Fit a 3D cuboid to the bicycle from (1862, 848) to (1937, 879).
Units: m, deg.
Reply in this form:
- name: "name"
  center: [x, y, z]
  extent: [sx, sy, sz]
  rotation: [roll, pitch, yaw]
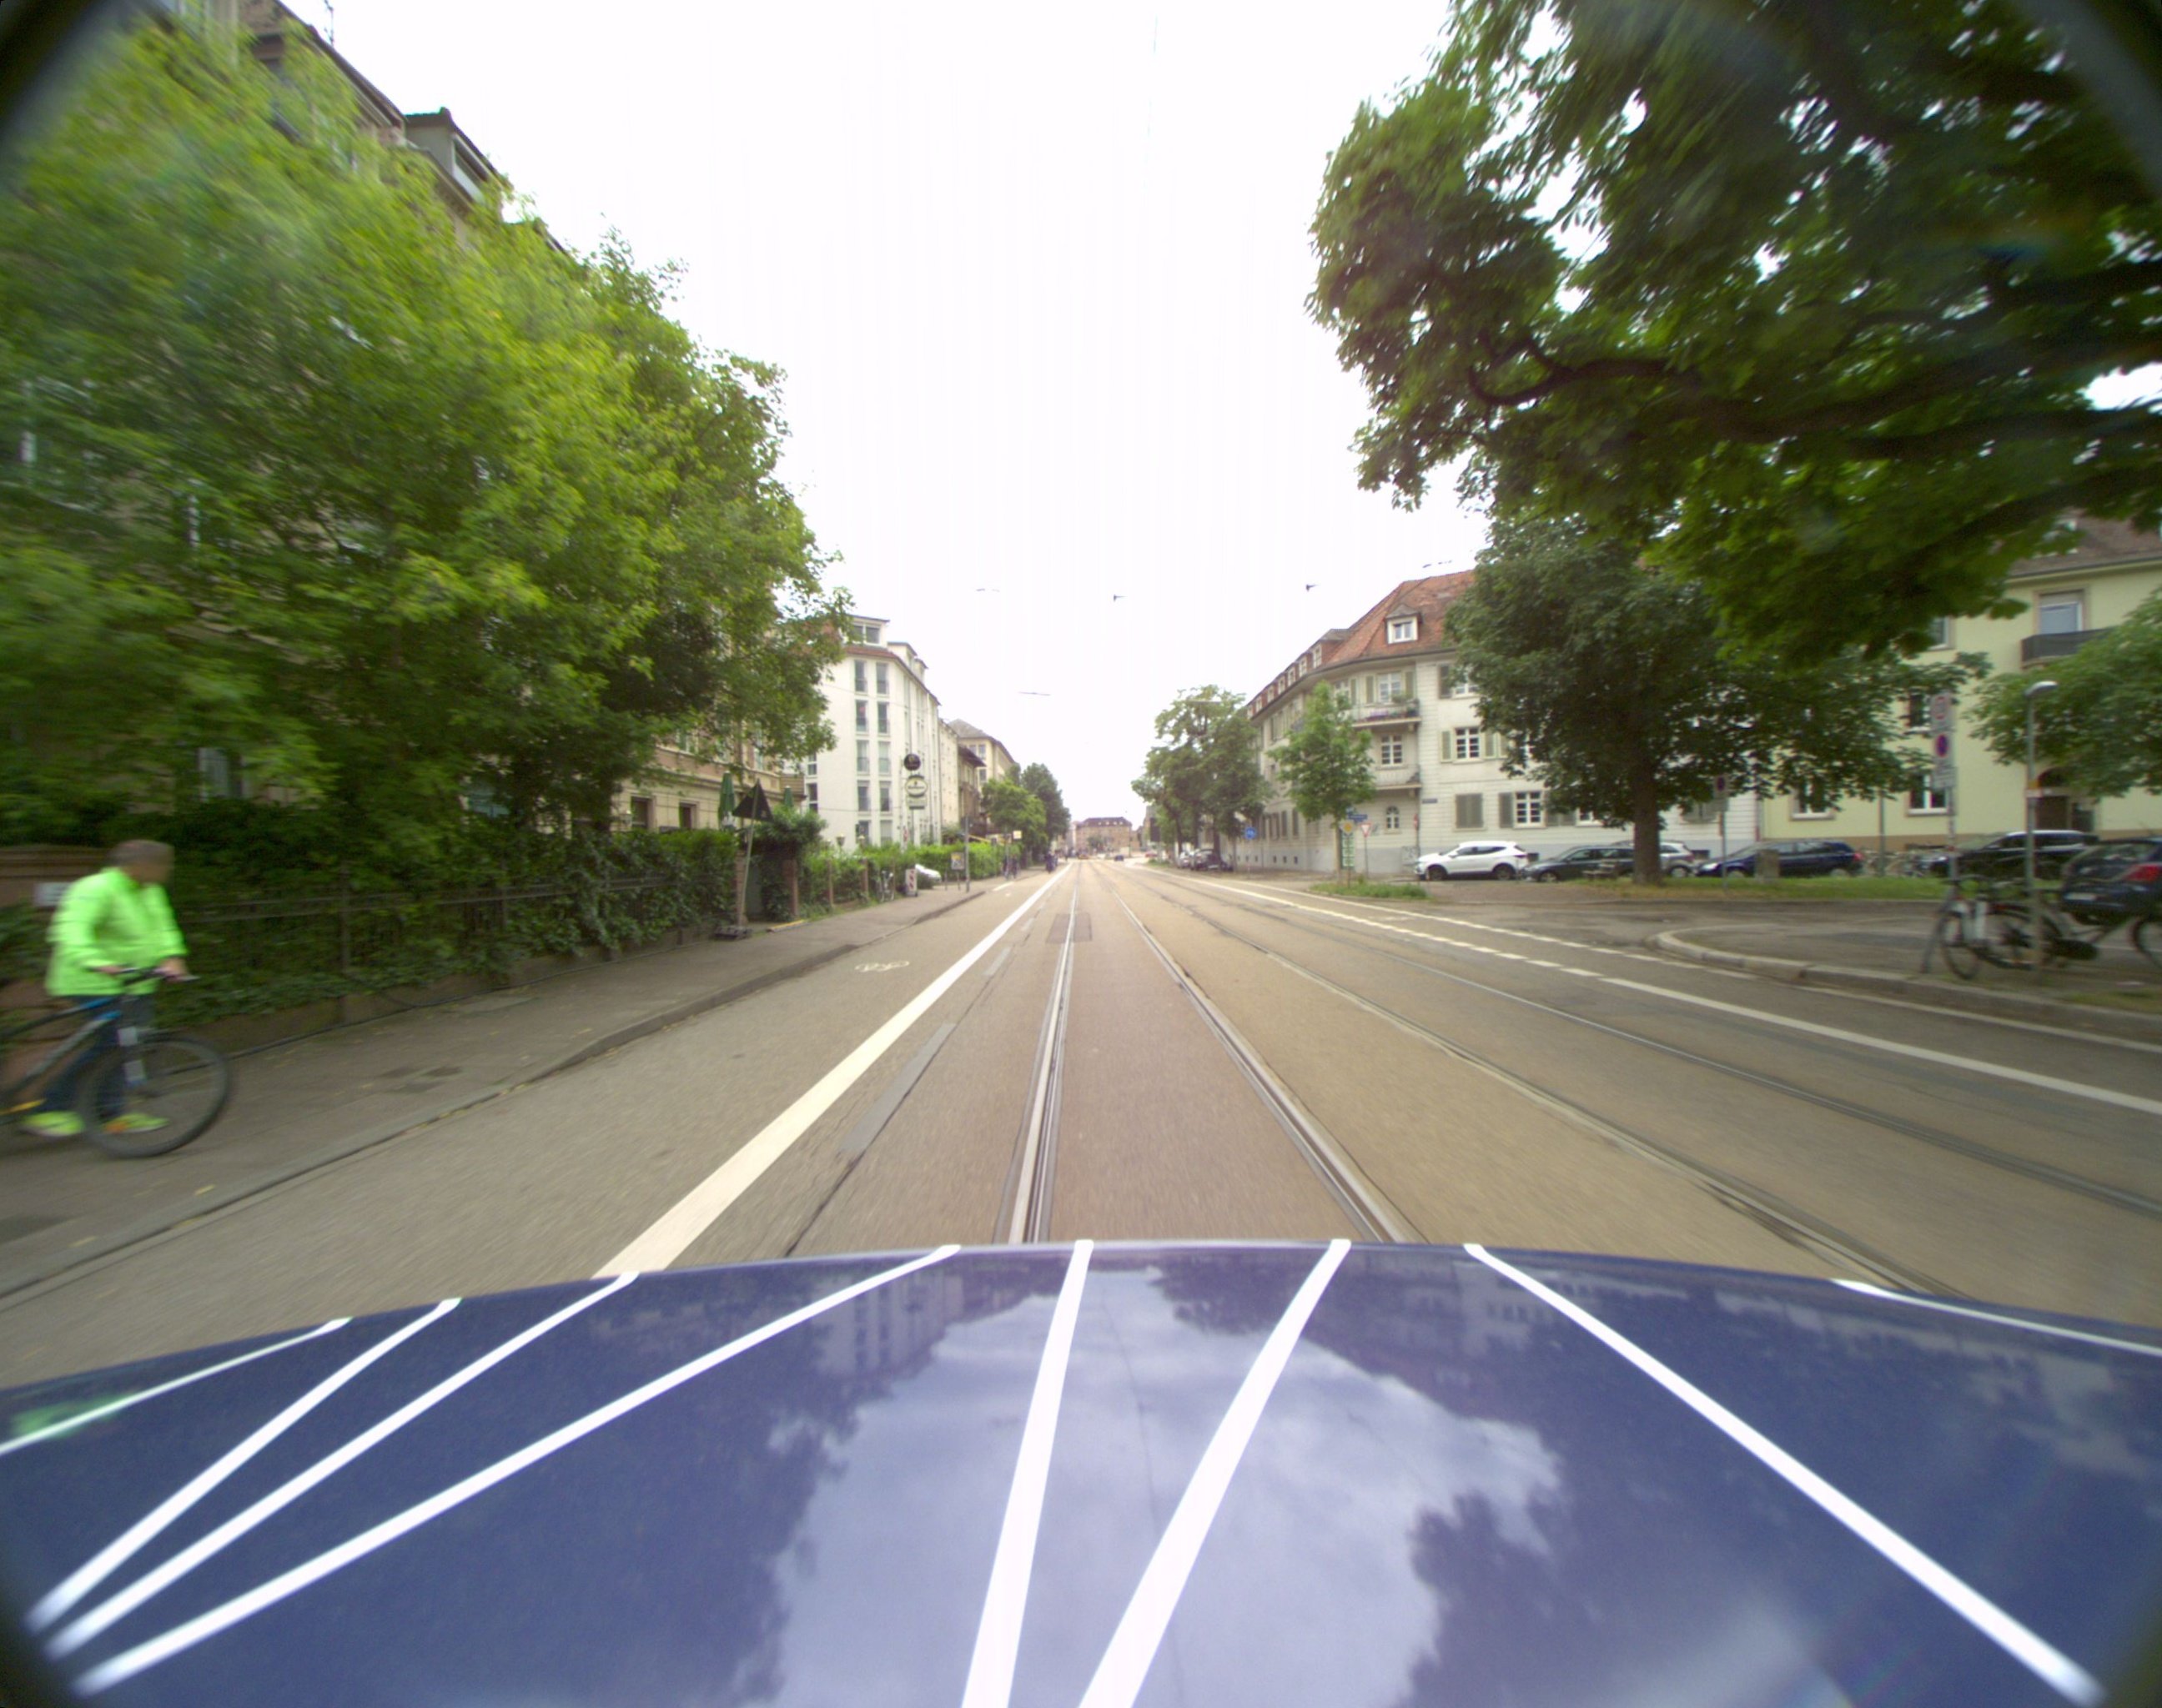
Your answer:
- name: "bicycle"
  center: [24.288, 0.288, 22.565]
  extent: [1.392, 0.891, 0.582]
  rotation: [-2, 1, 28]

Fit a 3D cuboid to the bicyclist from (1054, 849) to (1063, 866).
- name: "bicyclist"
  center: [-2.182, 0.326, 73.942]
  extent: [0.776, 1.681, 0.869]
  rotation: [-2, 1, 1]

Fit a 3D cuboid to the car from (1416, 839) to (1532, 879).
- name: "car"
  center: [17.669, 0.244, 34.362]
  extent: [4.505, 1.653, 1.942]
  rotation: [-2, 1, 25]

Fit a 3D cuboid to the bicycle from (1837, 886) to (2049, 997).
- name: "bicycle"
  center: [8.721, 0.845, 7.770]
  extent: [0.485, 0.952, 1.396]
  rotation: [-2, 1, -8]

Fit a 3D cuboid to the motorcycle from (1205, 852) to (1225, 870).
- name: "motorcycle"
  center: [9.393, 0.497, 53.199]
  extent: [1.288, 1.215, 0.548]
  rotation: [-3, 1, 6]

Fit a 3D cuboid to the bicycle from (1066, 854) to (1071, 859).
- name: "bicycle"
  center: [-2.727, 0.501, 161.916]
  extent: [0.793, 1.179, 2.012]
  rotation: [1, 0, 8]

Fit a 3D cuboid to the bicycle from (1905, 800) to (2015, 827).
- name: "bicycle"
  center: [33.998, -1.576, 29.439]
  extent: [2.660, 0.897, 0.820]
  rotation: [-2, 4, 27]

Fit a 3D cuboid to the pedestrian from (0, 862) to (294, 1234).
- name: "pedestrian"
  center: [-5.420, 0.932, 4.111]
  extent: [1.232, 1.723, 1.018]
  rotation: [2, 1, 0]

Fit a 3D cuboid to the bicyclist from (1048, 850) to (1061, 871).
- name: "bicyclist"
  center: [-2.347, 0.588, 67.948]
  extent: [0.881, 1.811, 1.479]
  rotation: [-2, -1, 5]

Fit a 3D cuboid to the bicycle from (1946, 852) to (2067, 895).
- name: "bicycle"
  center: [20.840, 0.448, 17.145]
  extent: [1.670, 0.919, 0.449]
  rotation: [-2, 0, 28]

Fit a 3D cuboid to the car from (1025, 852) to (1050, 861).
- name: "car"
  center: [-8.179, 0.503, 142.129]
  extent: [4.330, 1.542, 1.747]
  rotation: [-2, 0, -22]

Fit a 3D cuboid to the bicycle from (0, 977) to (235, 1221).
- name: "bicycle"
  center: [-5.772, 1.249, 4.031]
  extent: [1.846, 1.069, 0.606]
  rotation: [2, 1, -1]

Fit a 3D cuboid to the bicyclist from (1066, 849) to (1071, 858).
- name: "bicyclist"
  center: [-2.702, -0.137, 161.991]
  extent: [0.793, 1.773, 1.148]
  rotation: [1, 1, 8]

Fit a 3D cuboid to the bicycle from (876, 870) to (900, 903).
- name: "bicycle"
  center: [-6.556, 1.099, 25.898]
  extent: [0.302, 1.035, 1.848]
  rotation: [-2, 0, 0]

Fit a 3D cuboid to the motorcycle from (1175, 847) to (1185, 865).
- name: "motorcycle"
  center: [9.466, 0.164, 72.372]
  extent: [0.834, 1.633, 2.481]
  rotation: [-2, 0, 8]

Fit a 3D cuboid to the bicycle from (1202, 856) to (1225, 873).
- name: "bicycle"
  center: [9.104, 0.729, 52.351]
  extent: [1.379, 0.999, 0.930]
  rotation: [-5, 0, 4]

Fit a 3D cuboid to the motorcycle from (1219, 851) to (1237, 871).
- name: "motorcycle"
  center: [9.552, 0.463, 49.401]
  extent: [0.541, 1.250, 2.141]
  rotation: [-2, 1, -6]

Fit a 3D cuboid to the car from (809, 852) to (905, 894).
- name: "car"
  center: [-11.076, 0.893, 38.012]
  extent: [2.054, 1.867, 5.035]
  rotation: [-1, 0, 19]

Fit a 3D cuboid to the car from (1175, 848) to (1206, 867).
- name: "car"
  center: [9.317, 0.260, 64.988]
  extent: [1.816, 1.457, 4.613]
  rotation: [-3, 0, 0]

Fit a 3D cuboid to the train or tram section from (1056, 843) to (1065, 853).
- name: "train or tram section"
  center: [-6.332, -1.800, 235.349]
  extent: [2.610, 2.936, 4.965]
  rotation: [-2, 1, -2]

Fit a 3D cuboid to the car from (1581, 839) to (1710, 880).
- name: "car"
  center: [23.222, 0.233, 31.442]
  extent: [4.038, 1.504, 1.741]
  rotation: [-2, 1, 27]

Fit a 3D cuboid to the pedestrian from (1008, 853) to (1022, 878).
- name: "pedestrian"
  center: [-4.498, 0.761, 51.886]
  extent: [0.875, 1.646, 0.908]
  rotation: [-2, 1, -8]

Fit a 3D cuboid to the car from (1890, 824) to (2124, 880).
- name: "car"
  center: [27.995, -0.043, 23.190]
  extent: [4.179, 1.471, 1.705]
  rotation: [-2, 1, 26]

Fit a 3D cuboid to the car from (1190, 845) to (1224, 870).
- name: "car"
  center: [9.359, 0.227, 56.698]
  extent: [1.842, 1.651, 4.293]
  rotation: [-4, 0, 1]

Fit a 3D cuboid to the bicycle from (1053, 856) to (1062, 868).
- name: "bicycle"
  center: [-2.258, 0.769, 74.103]
  extent: [0.776, 1.205, 1.869]
  rotation: [-2, 0, 1]

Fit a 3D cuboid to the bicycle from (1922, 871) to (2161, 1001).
- name: "bicycle"
  center: [9.668, 0.735, 7.344]
  extent: [0.677, 1.129, 1.934]
  rotation: [-2, -1, -16]

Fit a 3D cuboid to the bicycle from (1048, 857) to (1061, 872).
- name: "bicycle"
  center: [-2.363, 0.966, 67.981]
  extent: [0.853, 1.234, 2.310]
  rotation: [-2, 1, 5]

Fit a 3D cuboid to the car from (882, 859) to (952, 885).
- name: "car"
  center: [-9.921, 1.076, 45.945]
  extent: [3.812, 1.422, 1.674]
  rotation: [-2, 0, 23]

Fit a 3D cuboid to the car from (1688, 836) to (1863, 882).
- name: "car"
  center: [23.158, 0.175, 25.543]
  extent: [4.000, 1.338, 1.668]
  rotation: [-2, 1, 26]

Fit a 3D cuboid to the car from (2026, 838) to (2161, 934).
- name: "car"
  center: [16.598, 0.404, 10.692]
  extent: [3.752, 1.299, 1.744]
  rotation: [-1, 1, 23]

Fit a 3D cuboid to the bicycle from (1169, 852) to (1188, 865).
- name: "bicycle"
  center: [9.566, 0.446, 74.683]
  extent: [1.744, 1.122, 0.518]
  rotation: [-4, 0, 18]

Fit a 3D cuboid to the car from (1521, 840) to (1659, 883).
- name: "car"
  center: [18.478, 0.283, 27.824]
  extent: [4.060, 1.402, 1.665]
  rotation: [-2, 1, 29]

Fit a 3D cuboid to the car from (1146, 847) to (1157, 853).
- name: "car"
  center: [17.921, -1.090, 193.604]
  extent: [1.757, 1.490, 4.006]
  rotation: [0, 1, 22]

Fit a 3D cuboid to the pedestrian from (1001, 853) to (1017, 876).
- name: "pedestrian"
  center: [-5.149, 0.774, 54.356]
  extent: [0.794, 1.627, 0.837]
  rotation: [0, 2, 16]

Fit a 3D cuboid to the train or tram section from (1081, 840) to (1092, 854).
- name: "train or tram section"
  center: [1.376, -1.873, 205.084]
  extent: [2.631, 3.659, 5.984]
  rotation: [-2, 1, -2]

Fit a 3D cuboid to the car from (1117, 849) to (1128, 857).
- name: "car"
  center: [7.730, -0.154, 141.912]
  extent: [1.733, 1.400, 3.655]
  rotation: [-2, 0, 0]
